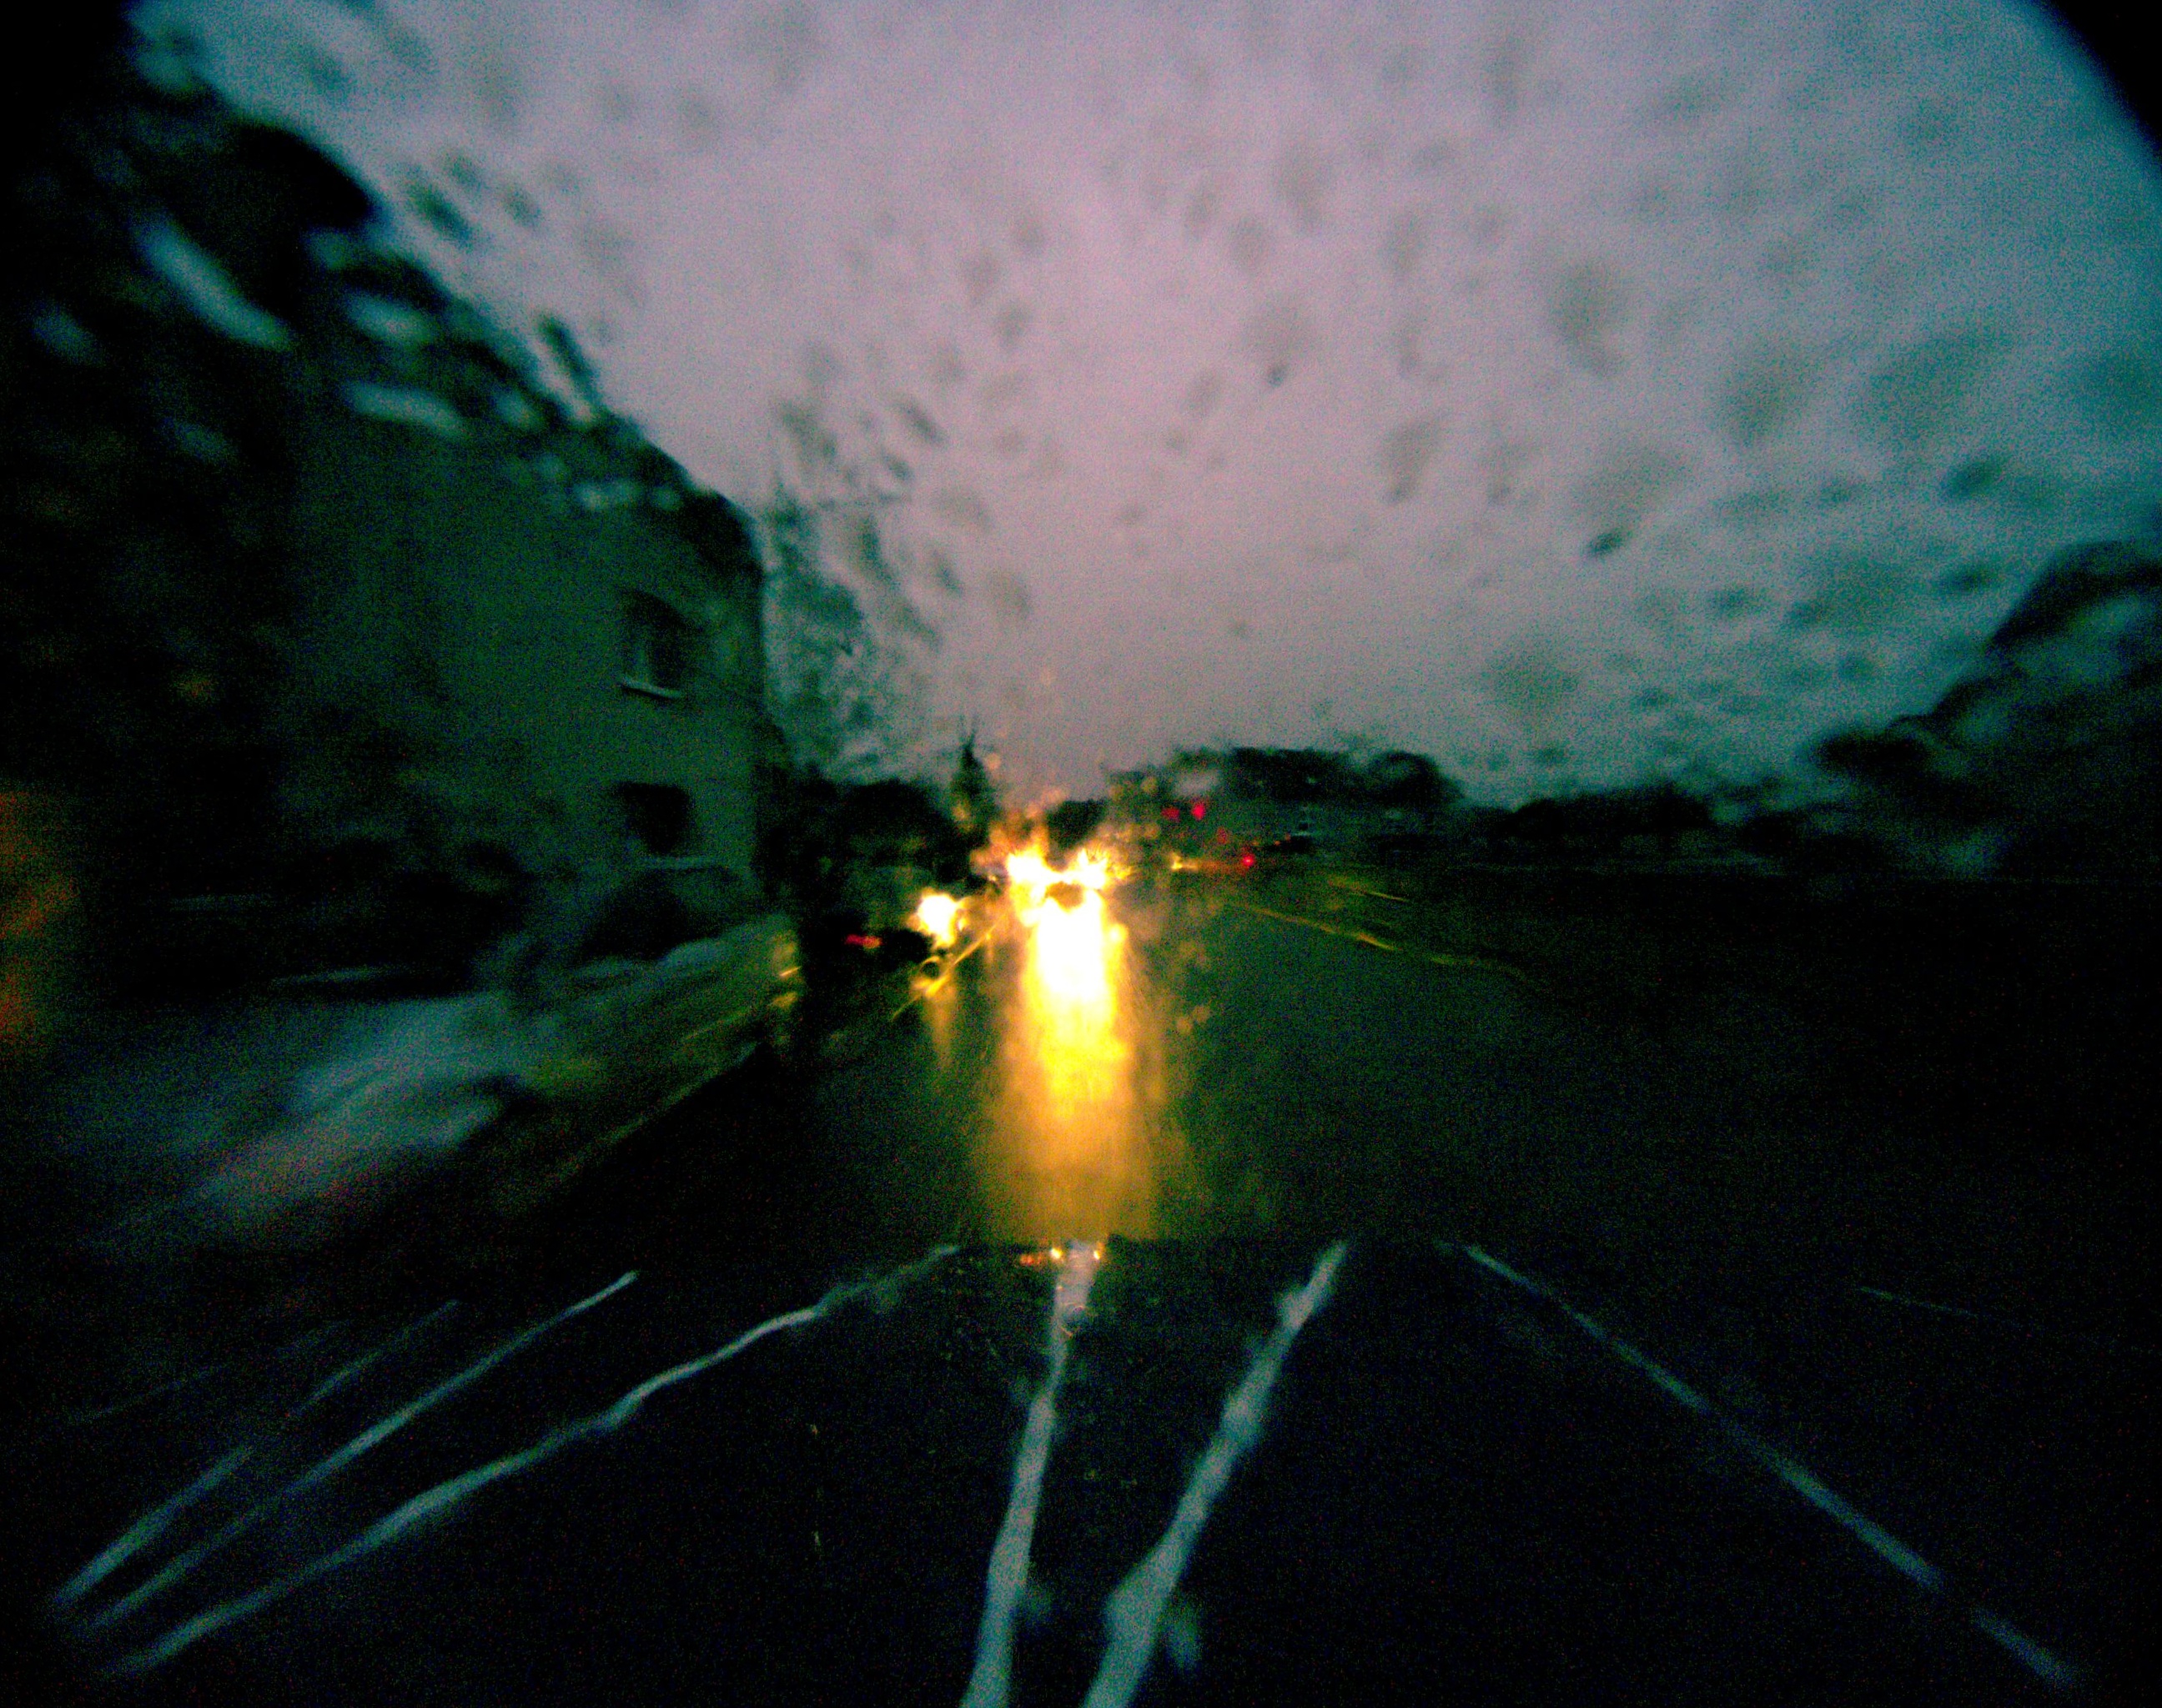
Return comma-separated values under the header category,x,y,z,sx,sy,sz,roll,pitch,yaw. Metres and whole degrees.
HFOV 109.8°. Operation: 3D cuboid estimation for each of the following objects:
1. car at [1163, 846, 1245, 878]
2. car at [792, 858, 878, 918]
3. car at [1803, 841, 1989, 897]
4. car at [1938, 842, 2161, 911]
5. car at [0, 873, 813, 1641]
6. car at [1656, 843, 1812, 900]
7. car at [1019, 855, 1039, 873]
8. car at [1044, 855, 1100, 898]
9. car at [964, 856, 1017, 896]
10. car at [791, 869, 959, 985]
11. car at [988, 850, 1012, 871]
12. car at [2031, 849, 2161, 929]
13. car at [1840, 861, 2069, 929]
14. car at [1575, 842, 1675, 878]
category,x,y,z,sx,sy,sz,roll,pitch,yaw
car,7.277,0.476,45.216,4.346,1.611,1.998,-3,1,-8
car,-7.121,0.915,22.421,1.813,1.543,4.300,0,0,-10
car,26.734,0.453,25.160,1.840,1.637,4.000,-3,0,0
car,26.500,0.553,20.713,1.815,1.637,4.000,-3,0,2
car,-2.988,0.946,3.903,1.669,1.566,4.496,0,0,-1
car,24.559,0.620,28.831,1.999,1.893,4.357,-3,0,-2
car,-5.074,0.983,73.915,1.907,1.630,4.565,1,-1,-4
car,-0.450,0.896,30.596,1.999,1.525,3.999,-2,-1,-4
car,-3.726,0.858,31.954,1.812,1.555,4.304,0,0,-2
car,-3.046,1.003,12.095,1.707,1.443,4.190,0,0,-3
car,-7.189,0.565,67.141,1.917,1.780,4.563,0,0,-9
car,23.849,0.742,16.379,1.821,1.615,3.986,-3,0,4
car,23.975,1.043,21.128,1.901,1.509,4.000,-3,1,4
car,24.417,0.226,34.270,1.680,1.406,3.833,-3,1,-1
